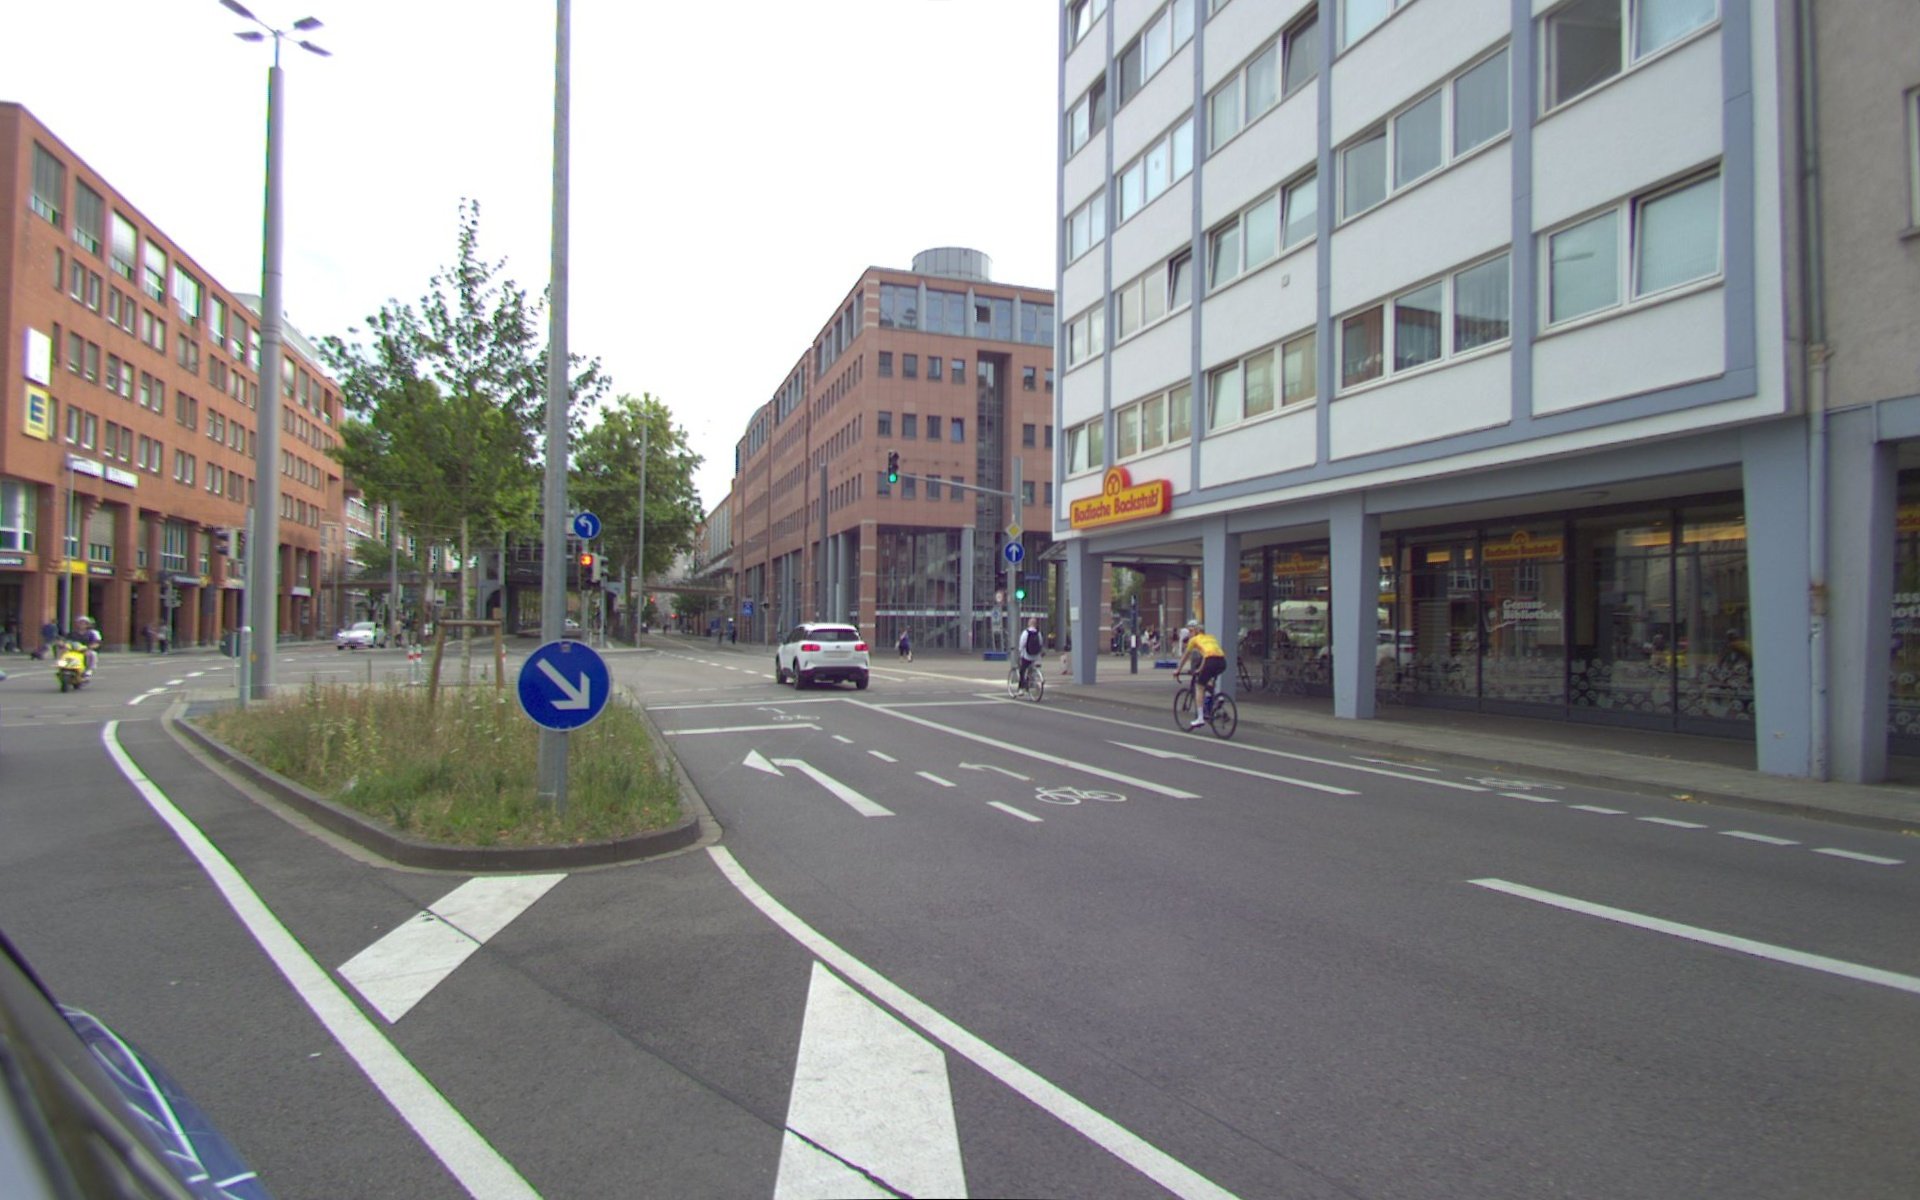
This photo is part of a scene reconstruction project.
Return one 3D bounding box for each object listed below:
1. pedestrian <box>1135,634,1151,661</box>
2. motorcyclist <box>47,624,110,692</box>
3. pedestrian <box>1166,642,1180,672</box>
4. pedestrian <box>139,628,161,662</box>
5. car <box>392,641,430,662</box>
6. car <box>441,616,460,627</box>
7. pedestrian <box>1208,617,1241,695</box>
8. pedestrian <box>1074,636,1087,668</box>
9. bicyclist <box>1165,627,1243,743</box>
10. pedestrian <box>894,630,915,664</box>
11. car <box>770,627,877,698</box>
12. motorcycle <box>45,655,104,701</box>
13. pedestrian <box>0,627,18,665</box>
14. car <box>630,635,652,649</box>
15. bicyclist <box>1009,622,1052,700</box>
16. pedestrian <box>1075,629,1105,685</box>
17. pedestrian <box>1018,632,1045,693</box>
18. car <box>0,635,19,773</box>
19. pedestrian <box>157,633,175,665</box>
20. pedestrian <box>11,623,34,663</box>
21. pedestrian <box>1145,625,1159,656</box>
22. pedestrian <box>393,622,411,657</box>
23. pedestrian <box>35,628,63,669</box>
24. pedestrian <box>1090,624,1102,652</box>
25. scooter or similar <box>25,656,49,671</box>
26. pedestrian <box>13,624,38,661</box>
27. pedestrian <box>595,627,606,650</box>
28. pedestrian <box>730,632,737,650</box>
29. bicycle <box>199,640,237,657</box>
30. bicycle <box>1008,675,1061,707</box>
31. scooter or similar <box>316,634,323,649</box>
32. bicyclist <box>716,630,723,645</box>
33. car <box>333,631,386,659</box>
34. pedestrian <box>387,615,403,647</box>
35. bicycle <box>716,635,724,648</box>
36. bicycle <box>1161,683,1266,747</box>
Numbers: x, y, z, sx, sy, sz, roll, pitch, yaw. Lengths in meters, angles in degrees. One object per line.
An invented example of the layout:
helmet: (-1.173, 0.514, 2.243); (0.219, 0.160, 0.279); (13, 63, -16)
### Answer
pedestrian: (10.195, 2.659, 56.329); (0.644, 1.484, 0.582); (1, -2, -19)
motorcyclist: (-20.520, 1.341, 23.588); (0.857, 1.528, 1.047); (1, -3, -29)
pedestrian: (11.734, 3.120, 55.838); (0.631, 1.654, 0.462); (-2, -3, 32)
pedestrian: (-41.462, 2.277, 51.813); (0.636, 1.709, 0.700); (2, -2, -22)
car: (-43.293, 4.032, 79.850); (1.925, 1.614, 4.012); (1, -2, -19)
car: (-76.075, 3.188, 151.129); (1.925, 1.614, 4.012); (1, -2, -19)
pedestrian: (6.156, 1.298, 23.578); (0.469, 1.779, 0.591); (1, -3, -19)
pedestrian: (6.071, 2.626, 51.040); (0.498, 1.589, 0.522); (1, -3, -17)
bicyclist: (3.638, 1.246, 15.154); (0.702, 1.662, 0.974); (1, -3, -21)
pedestrian: (-2.471, 2.105, 45.244); (0.785, 1.484, 0.686); (1, -2, -19)
car: (-3.663, 1.570, 26.431); (1.806, 1.672, 4.338); (1, -2, -21)
motorcycle: (-20.587, 1.789, 23.554); (0.561, 0.975, 2.020); (1, -3, -28)
pedestrian: (-44.055, 2.122, 46.573); (0.638, 1.727, 1.059); (1, -2, -19)
car: (-45.651, 5.984, 144.821); (2.466, 1.962, 5.109); (1, -3, -24)
bicyclist: (1.534, 1.310, 22.024); (0.599, 1.658, 1.040); (1, -2, -16)
pedestrian: (3.817, 1.661, 29.628); (0.685, 1.606, 0.654); (-1, -3, 28)
pedestrian: (1.840, 1.609, 26.196); (0.491, 1.571, 0.520); (1, -3, -26)
car: (-10.496, 1.098, 9.793); (1.697, 1.413, 4.008); (-1, 0, -38)
pedestrian: (-42.009, 2.579, 53.555); (0.401, 1.644, 0.733); (2, -3, -12)
pedestrian: (-42.173, 1.942, 45.518); (0.533, 1.811, 0.563); (1, -3, -19)
pedestrian: (10.997, 2.331, 57.851); (0.681, 1.775, 0.495); (-1, -3, 24)
pedestrian: (-30.446, 2.162, 55.213); (0.682, 1.889, 0.809); (1, -2, -19)
pedestrian: (-37.865, 2.028, 42.091); (0.629, 1.700, 0.602); (1, -3, -19)
pedestrian: (8.152, 2.284, 60.763); (0.512, 1.676, 0.582); (1, -3, -19)
scooter or similar: (-37.630, 2.596, 41.264); (0.499, 0.578, 0.818); (1, -2, -26)
pedestrian: (-43.438, 1.992, 47.046); (0.638, 1.701, 0.653); (1, -1, -19)
pedestrian: (-24.930, 2.664, 70.198); (0.647, 1.549, 0.560); (1, 0, -23)
pedestrian: (-20.103, 3.605, 89.740); (0.520, 1.586, 0.603); (1, -2, -19)
bicycle: (-47.566, 3.110, 64.881); (1.828, 1.048, 0.509); (1, -3, -19)
bicycle: (1.613, 1.964, 22.097); (0.477, 0.593, 2.004); (1, -2, -16)
scooter or similar: (-54.954, 3.568, 86.813); (0.268, 1.267, 0.924); (1, -2, -19)
bicyclist: (-21.354, 3.331, 89.798); (0.542, 1.391, 0.740); (1, -2, -18)
car: (-35.913, 2.679, 60.600); (1.925, 1.614, 4.012); (1, -2, -19)
pedestrian: (-32.011, 1.732, 57.326); (0.528, 1.805, 0.577); (0, -2, 1)
bicycle: (-21.301, 3.664, 89.800); (0.538, 1.126, 1.594); (1, -3, -18)
bicycle: (3.744, 1.690, 15.108); (0.403, 0.801, 2.004); (1, -2, -22)
